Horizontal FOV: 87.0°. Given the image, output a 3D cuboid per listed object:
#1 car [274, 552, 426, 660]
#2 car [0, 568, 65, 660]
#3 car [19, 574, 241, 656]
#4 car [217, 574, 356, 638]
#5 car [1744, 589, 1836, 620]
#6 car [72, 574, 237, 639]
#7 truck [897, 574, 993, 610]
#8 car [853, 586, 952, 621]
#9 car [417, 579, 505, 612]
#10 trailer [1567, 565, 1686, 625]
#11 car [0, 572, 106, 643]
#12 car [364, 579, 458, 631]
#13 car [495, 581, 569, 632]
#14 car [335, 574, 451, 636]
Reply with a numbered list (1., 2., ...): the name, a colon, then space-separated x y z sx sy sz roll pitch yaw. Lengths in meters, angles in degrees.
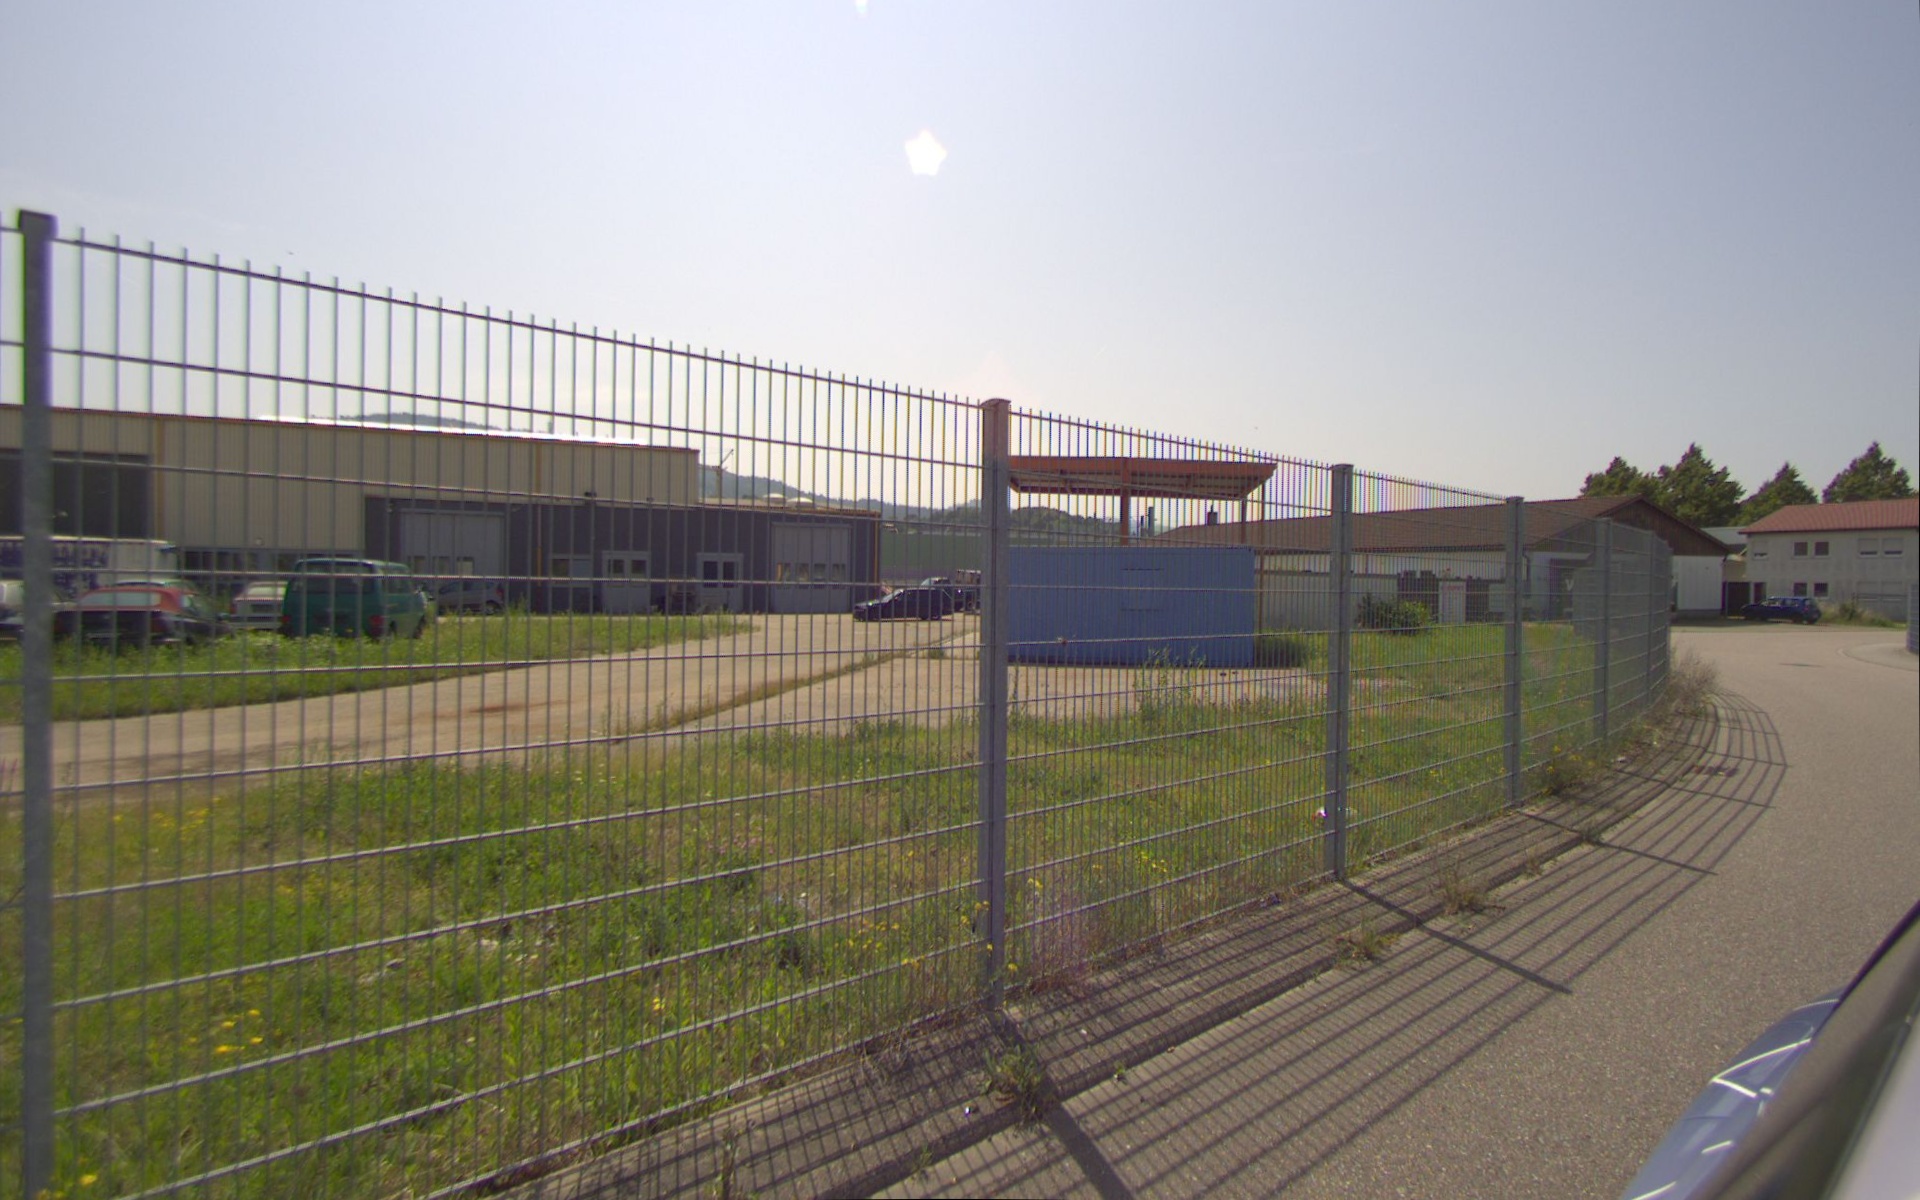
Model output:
1. car: -12.526 0.058 21.071 1.803 2.006 4.400 1 1 -19
2. car: -15.182 0.215 14.626 1.803 1.362 4.400 1 1 -19
3. car: -12.959 0.179 16.043 1.636 1.122 3.383 1 1 -19
4. car: -16.544 0.091 25.096 1.803 1.395 4.400 1 1 -19
5. car: 46.683 0.236 56.991 1.549 1.411 3.656 1 4 -24
6. car: -19.569 0.098 24.828 1.803 1.395 4.400 1 1 -19
7. truck: -0.833 -0.431 53.882 4.699 1.820 2.065 1 1 -17
8. car: -2.456 0.136 43.321 3.916 1.404 1.679 0 1 -20
9. car: -22.276 -0.206 45.282 3.447 1.395 1.845 1 1 -26
10. trailer: 31.871 -0.295 48.557 1.958 2.572 4.376 0 3 -21
11. car: -21.424 0.109 22.842 1.803 1.395 4.400 1 1 -19
12. car: -16.621 0.108 30.835 1.803 1.395 4.400 1 1 -19
13. car: -13.250 0.160 31.508 1.803 1.395 4.400 1 1 -19
14. car: -14.210 0.063 25.611 1.803 1.395 4.400 1 1 -19
